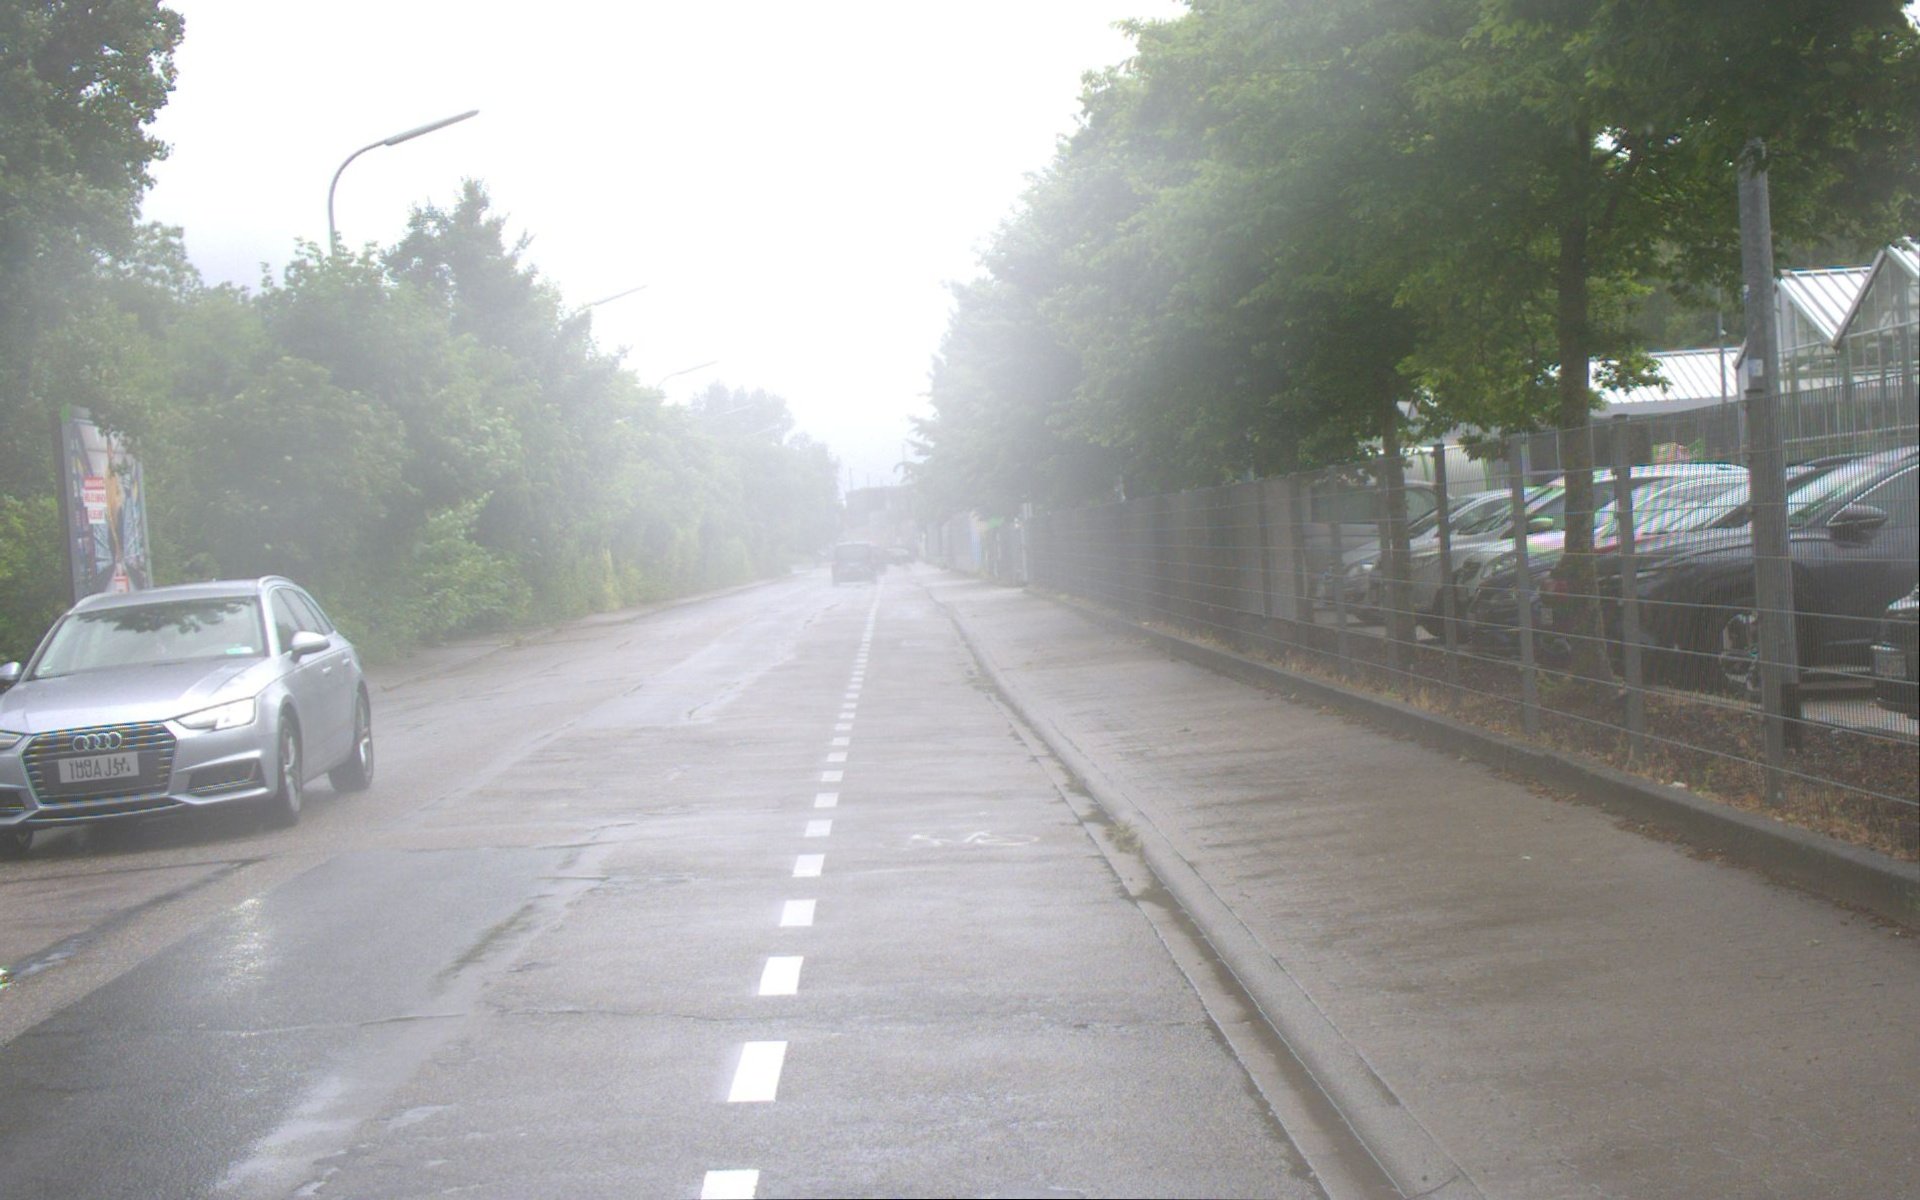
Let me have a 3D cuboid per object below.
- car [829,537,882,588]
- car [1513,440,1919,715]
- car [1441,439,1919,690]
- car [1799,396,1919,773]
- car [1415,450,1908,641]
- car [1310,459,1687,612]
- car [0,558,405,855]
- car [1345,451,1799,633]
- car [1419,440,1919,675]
[{"bbox_3d":[-4.284,-1.520,140.851,1.993,1.904,4.201,-4,0,-2],"label":"car"},{"bbox_3d":[6.030,-0.230,22.860,4.207,1.613,1.824,-4,1,-8],"label":"car"},{"bbox_3d":[5.942,-0.315,25.731,4.207,1.613,1.824,-4,1,-8],"label":"car"},{"bbox_3d":[6.558,-0.212,17.000,4.207,1.788,1.824,-4,1,-8],"label":"car"},{"bbox_3d":[6.719,-0.533,33.151,4.207,1.528,1.824,-4,1,-8],"label":"car"},{"bbox_3d":[6.597,-0.797,42.404,4.208,1.583,1.824,-4,1,-3],"label":"car"},{"bbox_3d":[-4.689,0.568,21.054,1.733,1.445,4.381,-6,1,0],"label":"car"},{"bbox_3d":[6.335,-0.609,35.802,4.207,1.583,1.824,-4,1,-8],"label":"car"},{"bbox_3d":[6.060,-0.372,27.874,4.207,1.613,1.824,-4,1,-8],"label":"car"}]
